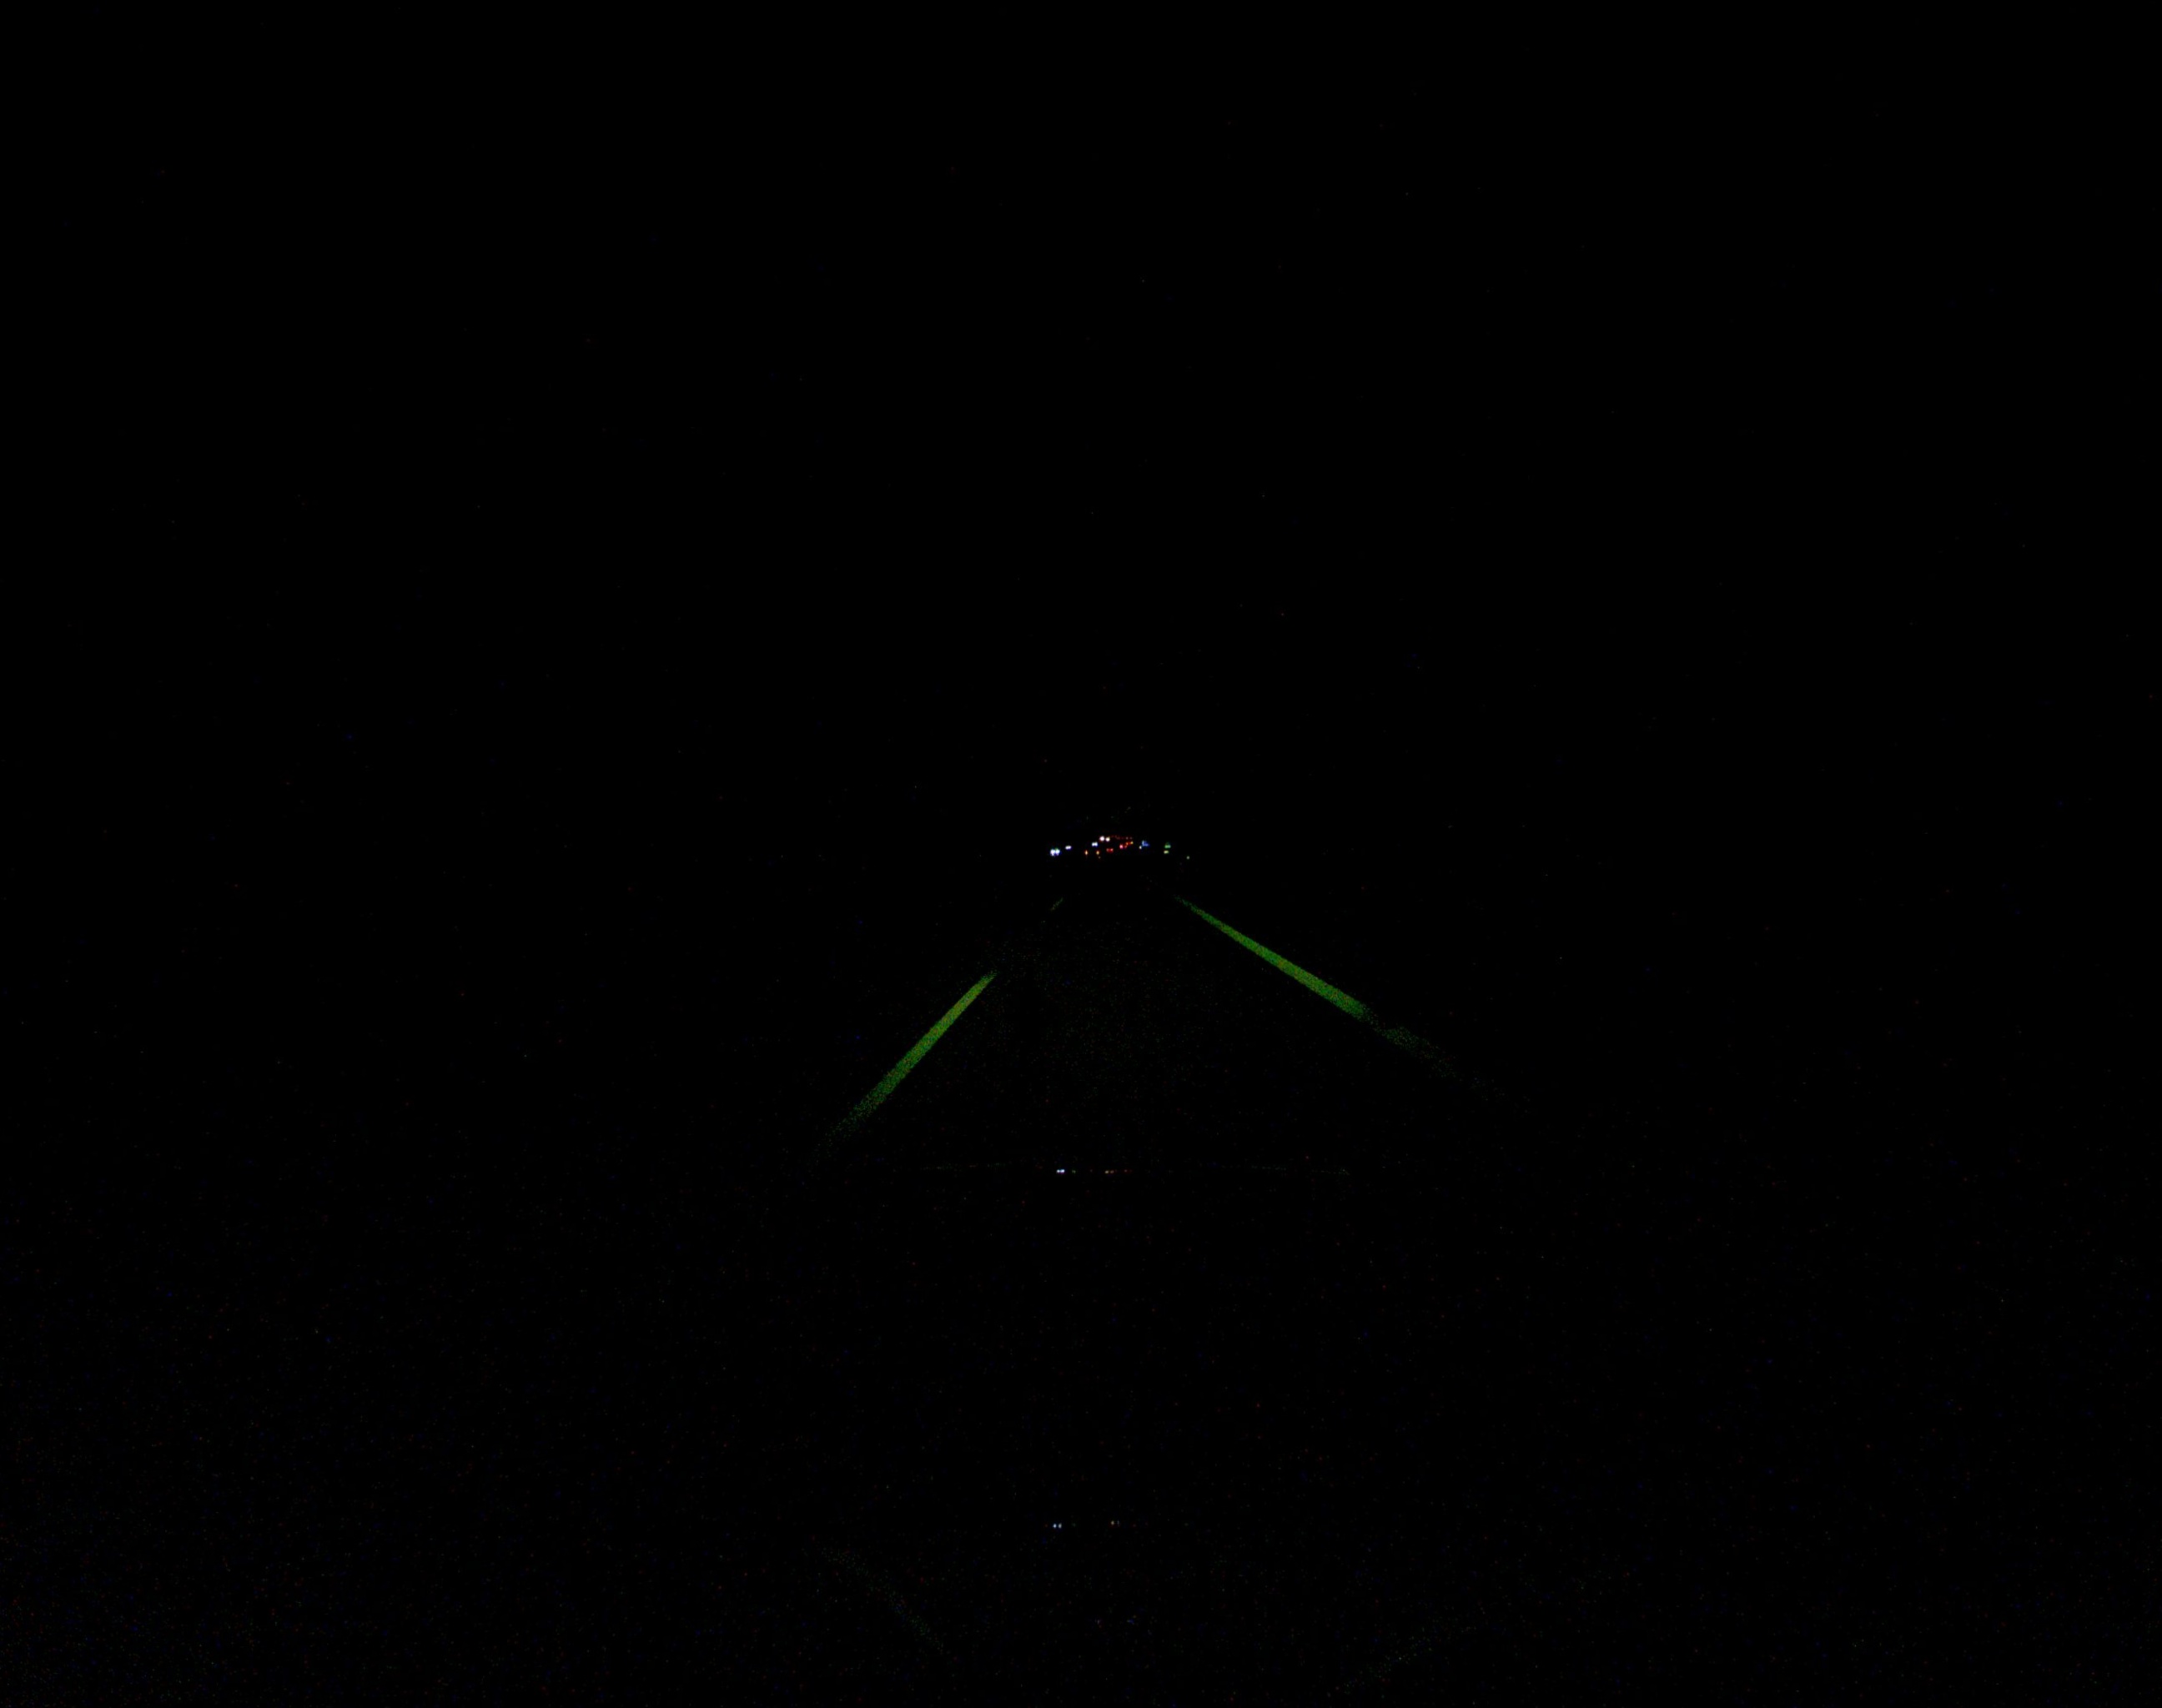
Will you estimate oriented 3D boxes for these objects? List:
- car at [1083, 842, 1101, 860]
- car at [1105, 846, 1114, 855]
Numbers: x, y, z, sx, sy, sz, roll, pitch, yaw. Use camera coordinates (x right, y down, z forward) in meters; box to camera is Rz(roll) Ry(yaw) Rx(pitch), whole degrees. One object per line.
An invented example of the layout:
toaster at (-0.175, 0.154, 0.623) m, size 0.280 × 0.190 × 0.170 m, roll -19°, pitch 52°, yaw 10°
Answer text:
car at (1.810, -0.448, 130.207) m, size 2.777 × 2.733 × 6.299 m, roll -1°, pitch -1°, yaw 1°
car at (9.214, -1.237, 259.971) m, size 2.775 × 2.733 × 6.303 m, roll -1°, pitch -1°, yaw 2°
